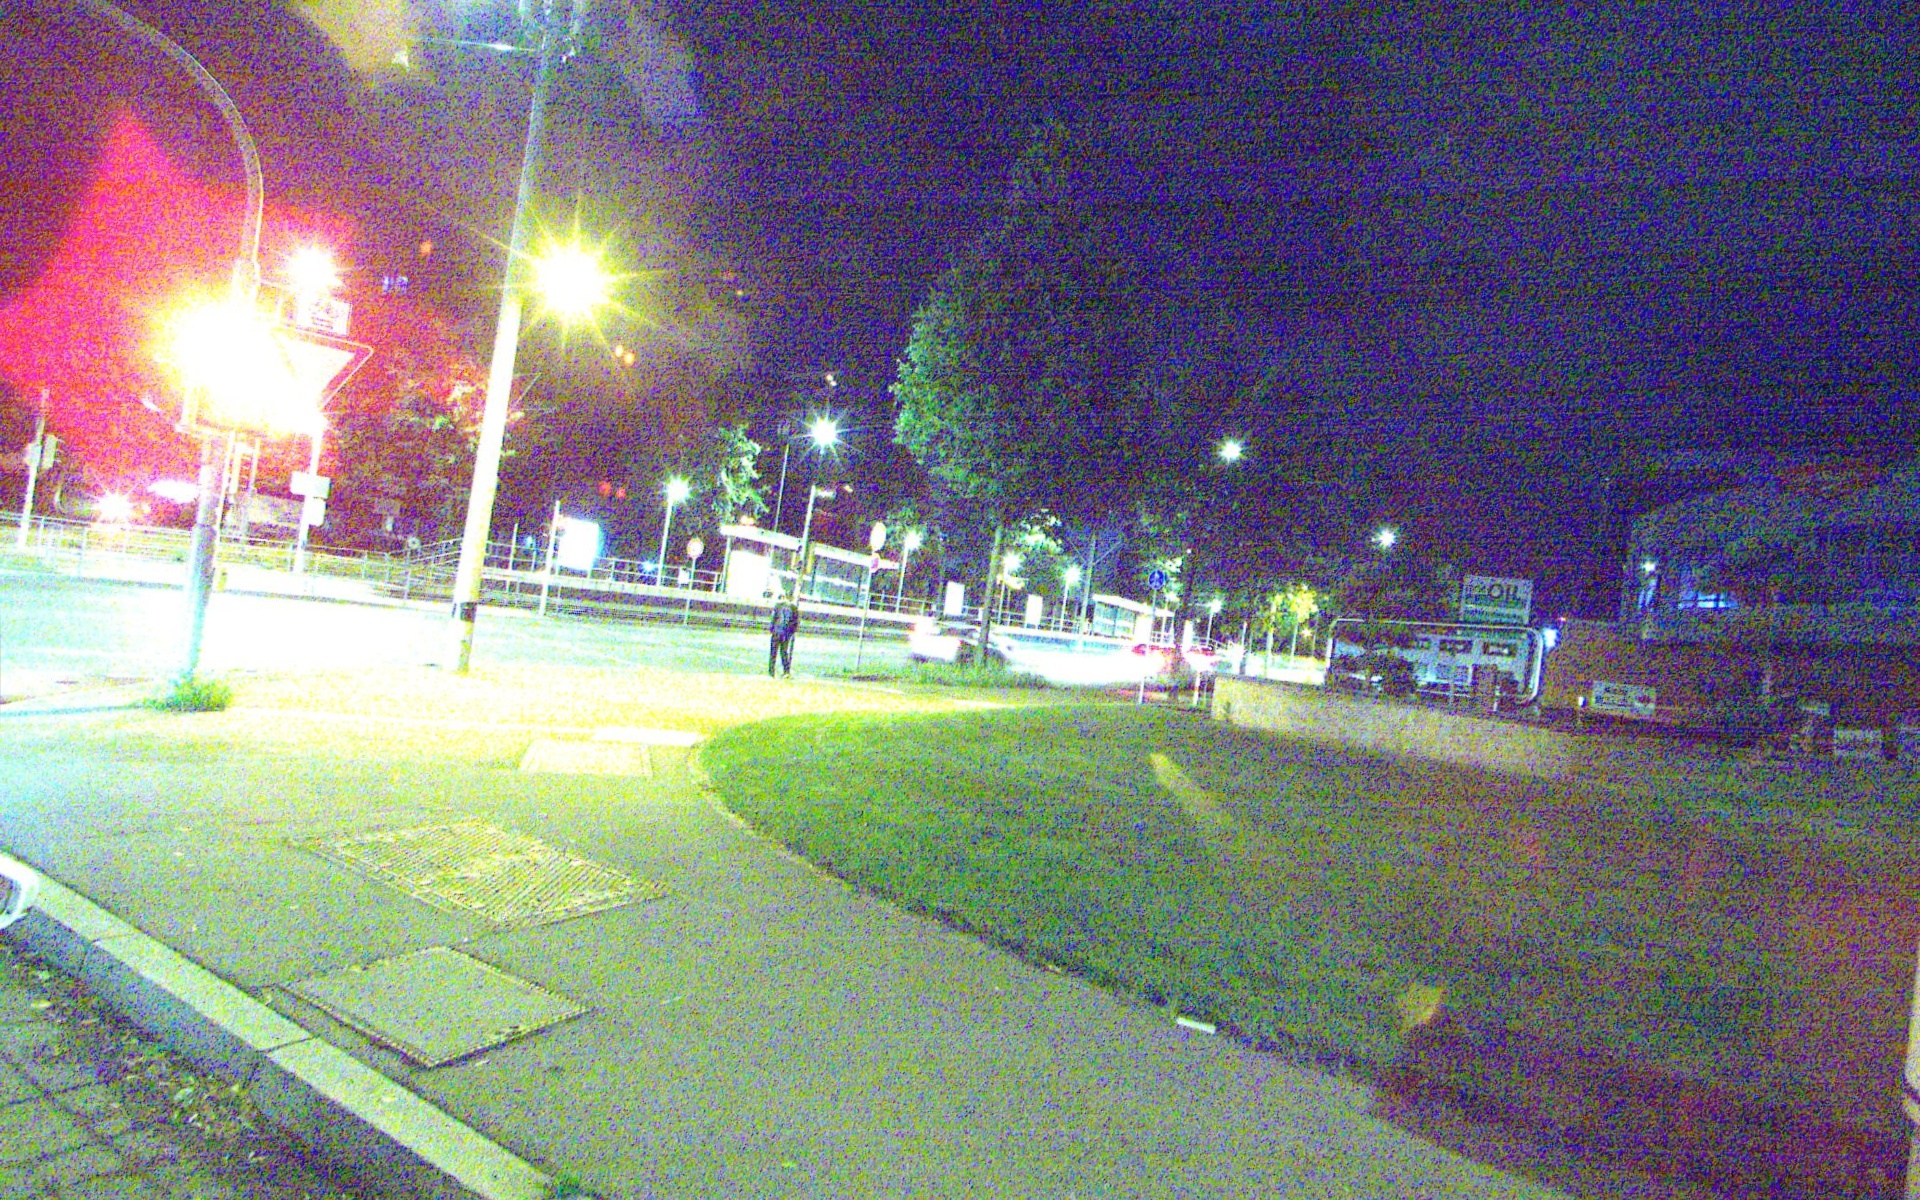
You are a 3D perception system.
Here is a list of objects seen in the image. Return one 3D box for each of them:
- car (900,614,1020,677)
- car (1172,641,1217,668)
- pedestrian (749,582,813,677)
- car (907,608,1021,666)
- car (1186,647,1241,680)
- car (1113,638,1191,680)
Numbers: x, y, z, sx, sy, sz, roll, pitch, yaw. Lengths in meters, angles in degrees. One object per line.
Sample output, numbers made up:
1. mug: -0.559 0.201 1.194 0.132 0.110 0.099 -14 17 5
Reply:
1. car: 0.056 1.437 30.955 1.660 1.525 3.833 9 0 34
2. car: 15.453 3.580 66.083 1.719 1.606 3.992 5 0 29
3. pedestrian: -3.474 0.578 19.578 0.820 1.767 0.755 4 0 31
4. car: 0.215 1.412 36.982 1.784 1.584 4.514 10 0 35
5. car: 14.599 3.664 57.788 1.762 1.481 3.994 6 -2 33
6. car: 8.634 2.674 44.954 1.833 1.510 4.477 8 0 31
